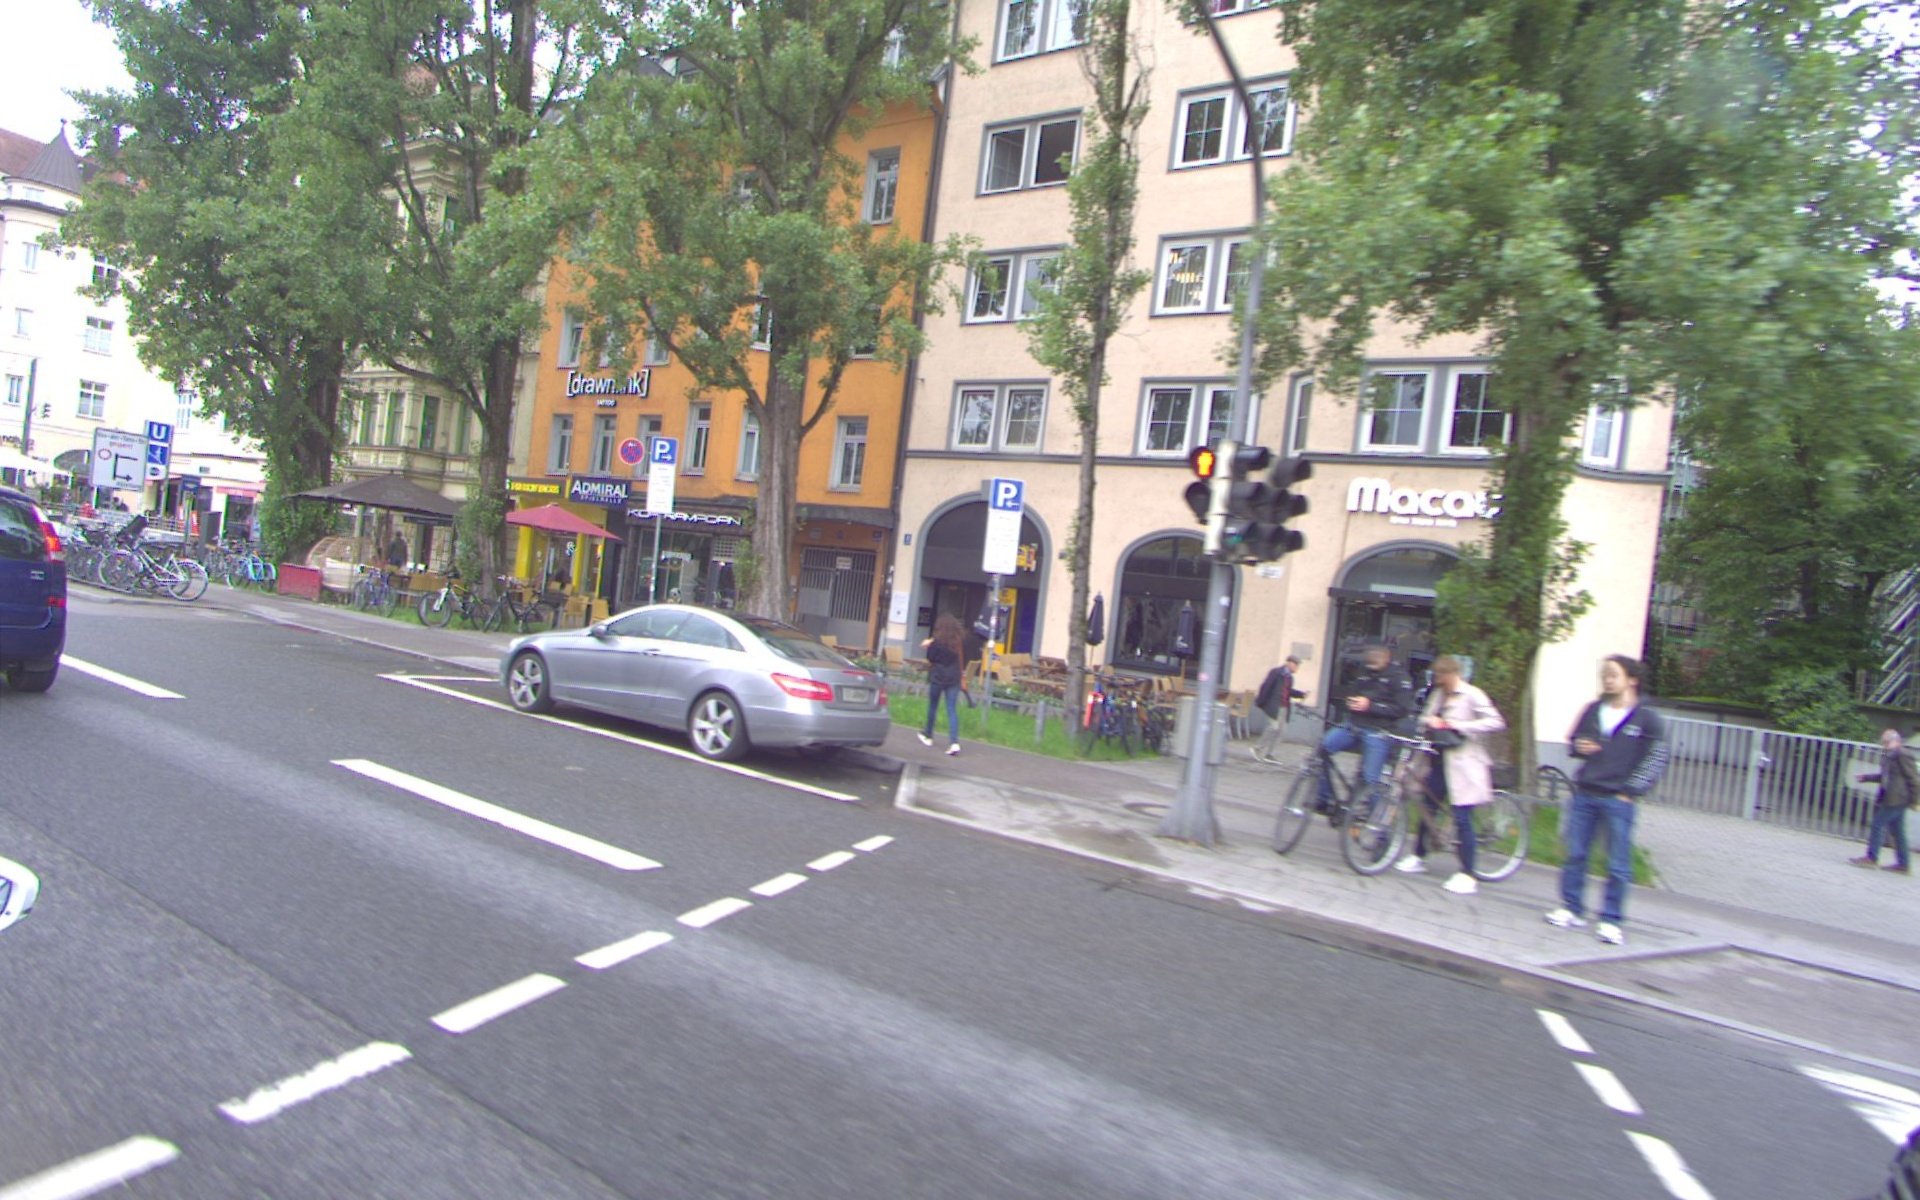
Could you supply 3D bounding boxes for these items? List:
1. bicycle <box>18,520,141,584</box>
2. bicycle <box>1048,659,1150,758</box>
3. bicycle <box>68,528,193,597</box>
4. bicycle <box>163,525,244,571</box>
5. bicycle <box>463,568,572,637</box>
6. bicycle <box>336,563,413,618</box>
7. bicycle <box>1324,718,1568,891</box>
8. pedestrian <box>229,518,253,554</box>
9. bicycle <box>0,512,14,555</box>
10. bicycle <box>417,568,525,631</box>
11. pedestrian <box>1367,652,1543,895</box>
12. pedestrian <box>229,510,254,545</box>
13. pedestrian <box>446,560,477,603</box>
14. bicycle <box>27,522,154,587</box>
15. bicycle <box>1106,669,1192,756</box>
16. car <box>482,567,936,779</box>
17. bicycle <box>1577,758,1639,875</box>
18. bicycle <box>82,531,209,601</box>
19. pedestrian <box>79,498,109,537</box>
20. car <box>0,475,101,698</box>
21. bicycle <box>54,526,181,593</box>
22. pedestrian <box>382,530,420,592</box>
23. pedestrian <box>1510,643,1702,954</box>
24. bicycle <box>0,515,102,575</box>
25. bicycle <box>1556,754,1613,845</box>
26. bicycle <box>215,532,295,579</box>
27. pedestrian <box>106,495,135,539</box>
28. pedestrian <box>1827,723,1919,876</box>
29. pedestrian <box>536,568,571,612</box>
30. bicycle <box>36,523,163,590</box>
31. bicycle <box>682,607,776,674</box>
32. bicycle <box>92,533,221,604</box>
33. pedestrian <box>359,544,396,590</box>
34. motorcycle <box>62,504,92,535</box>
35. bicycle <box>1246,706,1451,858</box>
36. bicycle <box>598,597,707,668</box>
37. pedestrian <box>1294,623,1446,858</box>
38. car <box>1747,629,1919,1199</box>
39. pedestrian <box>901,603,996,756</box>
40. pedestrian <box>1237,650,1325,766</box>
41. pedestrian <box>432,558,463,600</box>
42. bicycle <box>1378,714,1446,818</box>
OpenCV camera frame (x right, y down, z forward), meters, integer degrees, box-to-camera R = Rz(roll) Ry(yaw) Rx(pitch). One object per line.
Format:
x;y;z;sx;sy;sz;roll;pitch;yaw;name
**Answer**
-17.931;-0.971;20.513;1.814;1.008;0.374;9;1;-15;bicycle
1.809;1.403;12.833;0.440;1.122;1.801;7;-2;33;bicycle
-15.681;-0.701;19.038;1.811;1.008;0.375;9;1;-8;bicycle
-20.966;-1.427;27.925;0.380;1.058;1.727;9;0;25;bicycle
-8.785;0.079;20.065;0.573;1.188;1.889;7;0;33;bicycle
-12.003;-0.205;20.608;1.862;0.903;0.457;7;0;31;bicycle
3.699;1.559;7.652;1.717;1.116;0.358;7;1;-13;bicycle
-28.197;-2.509;39.446;0.543;1.305;0.495;7;1;32;pedestrian
-24.306;-1.748;24.473;1.818;1.008;0.323;9;0;-22;bicycle
-9.719;0.009;20.060;0.451;1.067;1.889;7;0;33;bicycle
3.736;1.285;7.651;0.690;1.658;0.754;8;1;-11;pedestrian
-31.012;-3.123;43.416;0.542;1.414;0.543;7;1;5;pedestrian
-16.330;-0.607;32.946;0.573;1.296;0.584;7;1;31;pedestrian
-17.418;-0.909;20.185;1.817;1.008;0.373;9;0;-20;bicycle
2.732;1.603;14.391;0.440;1.123;1.799;7;-1;33;bicycle
-2.731;0.663;10.717;4.452;1.458;1.997;7;0;30;car
6.405;2.088;9.956;0.386;0.927;1.836;7;-2;33;bicycle
-15.060;-0.627;18.621;1.811;1.008;0.375;9;1;-8;bicycle
-35.000;-3.327;40.650;0.606;1.440;0.676;7;1;32;pedestrian
-8.641;-0.309;7.969;3.497;1.608;1.706;7;-1;32;car
-16.244;-0.768;19.421;1.813;1.008;0.374;9;1;-14;bicycle
-16.740;-1.164;30.116;0.655;1.761;0.601;7;1;32;pedestrian
4.329;1.274;6.733;0.746;1.823;0.878;8;1;42;pedestrian
-19.695;-1.186;21.607;1.817;1.008;0.373;9;0;-21;bicycle
7.170;2.266;11.589;0.385;0.845;1.576;7;-2;29;bicycle
-19.785;-1.239;28.262;0.382;1.058;1.720;9;0;42;bicycle
-34.039;-3.367;40.806;0.666;1.653;0.615;7;1;32;pedestrian
11.603;2.468;12.488;1.000;1.706;0.746;7;1;32;pedestrian
-12.261;-0.310;30.347;0.573;1.233;0.623;7;1;31;pedestrian
-16.884;-0.848;19.778;1.815;1.008;0.374;9;1;-17;bicycle
-4.250;0.779;18.651;0.450;1.127;1.891;7;0;29;bicycle
-14.553;-0.568;18.247;1.811;1.008;0.375;9;1;-8;bicycle
-17.149;-0.963;29.641;0.655;1.237;0.601;7;1;32;pedestrian
-38.291;-3.493;43.605;1.545;1.171;0.487;7;0;32;motorcycle
3.223;1.517;8.298;1.722;1.116;0.357;7;1;-24;bicycle
-5.173;0.576;17.032;0.450;1.066;1.891;7;0;29;bicycle
3.391;1.153;8.349;0.693;1.802;0.647;8;1;-25;pedestrian
3.463;1.109;0.457;4.631;1.667;1.773;7;0;33;car
-0.143;0.874;11.387;0.750;1.582;0.761;7;1;-12;pedestrian
4.936;1.651;15.526;0.835;1.622;0.821;7;1;-11;pedestrian
-17.015;-0.689;33.398;0.573;1.296;0.584;7;1;31;pedestrian
5.225;1.871;11.592;0.386;1.062;1.574;7;-1;33;bicycle
